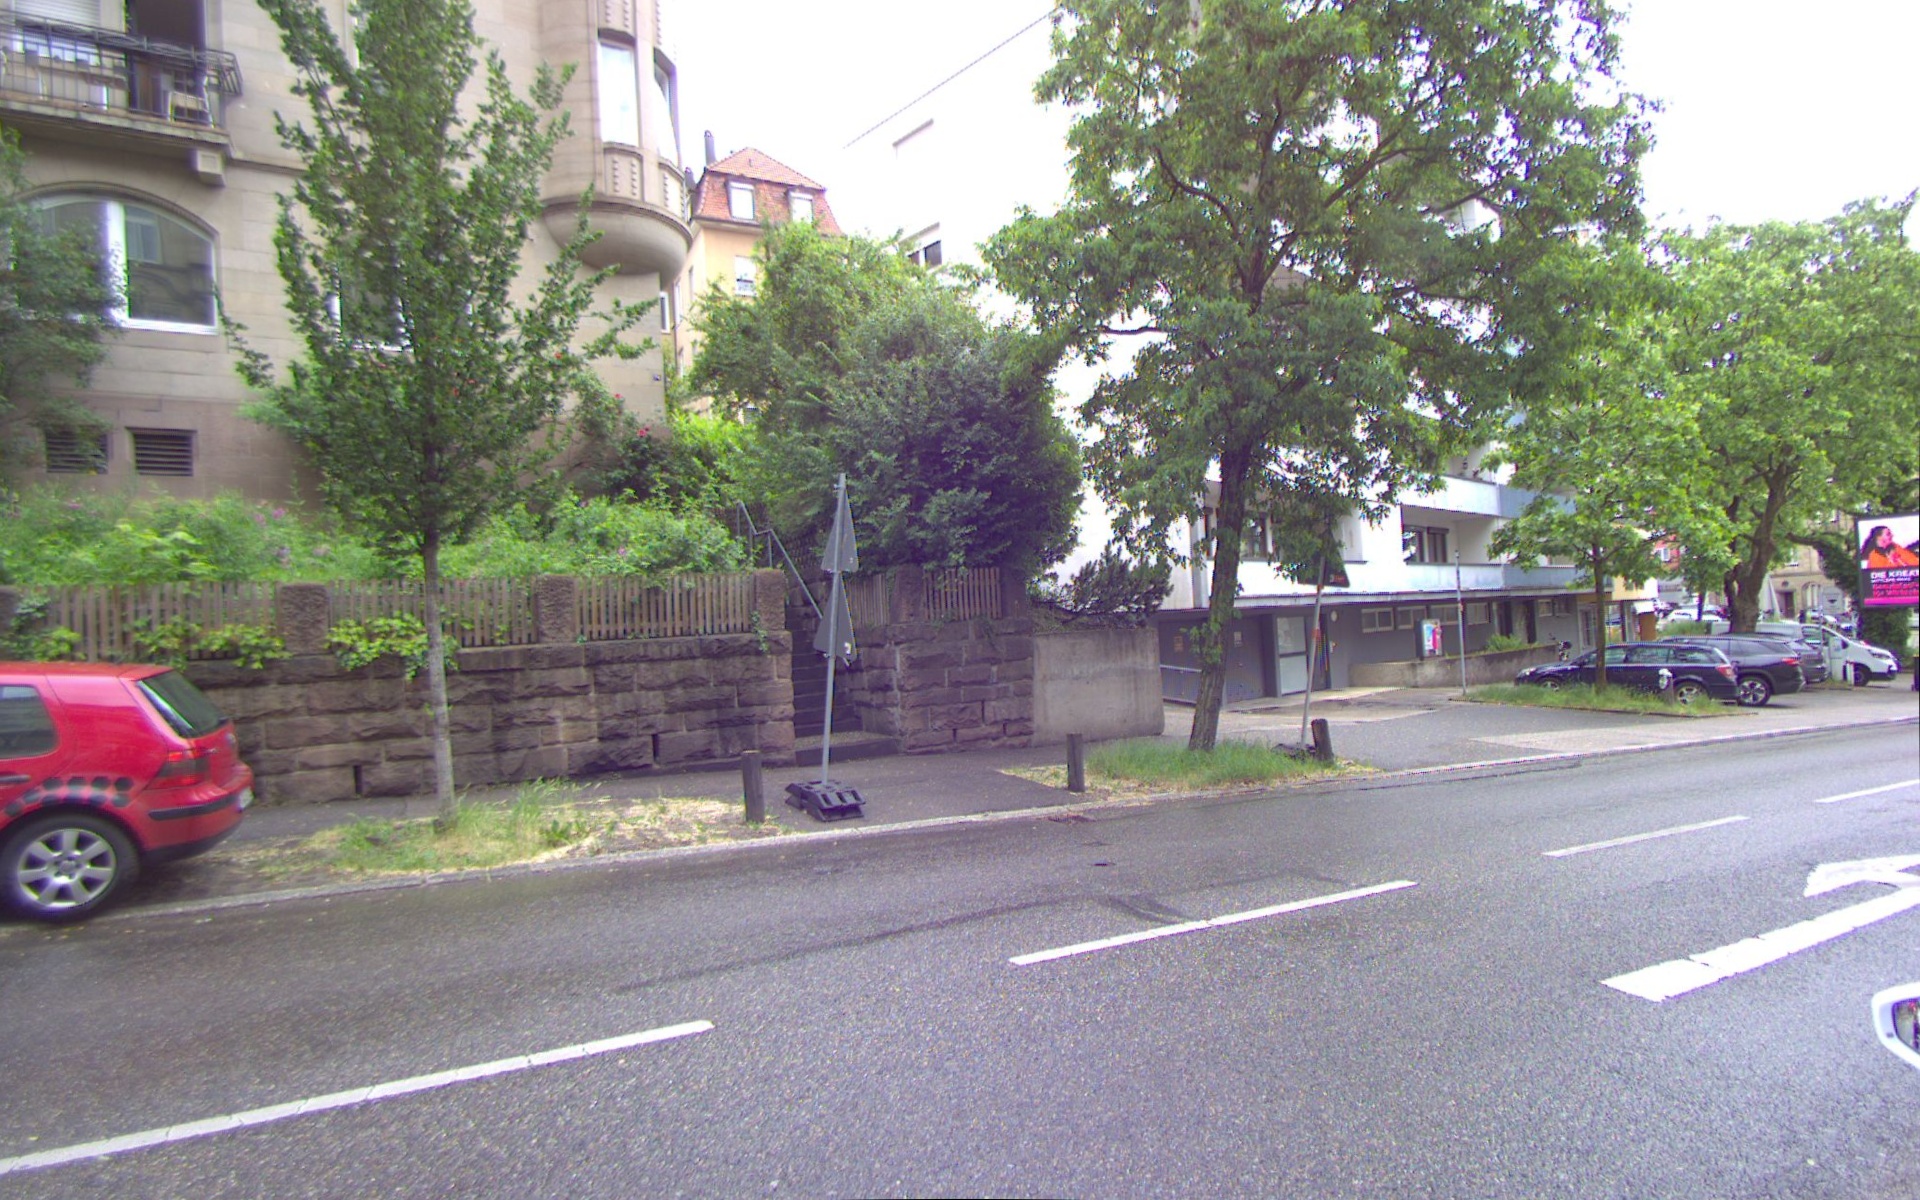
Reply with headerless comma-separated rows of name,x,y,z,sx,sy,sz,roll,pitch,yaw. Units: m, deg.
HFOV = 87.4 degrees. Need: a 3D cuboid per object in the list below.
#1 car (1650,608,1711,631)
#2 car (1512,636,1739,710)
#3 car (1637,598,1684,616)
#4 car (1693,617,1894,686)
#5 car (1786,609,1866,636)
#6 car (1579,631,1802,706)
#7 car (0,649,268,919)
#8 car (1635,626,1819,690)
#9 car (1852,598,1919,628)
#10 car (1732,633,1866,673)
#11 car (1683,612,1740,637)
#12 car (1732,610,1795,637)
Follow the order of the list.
car,60.363,1.625,84.215,1.961,1.749,4.249,-2,-1,-1
car,15.671,1.697,23.773,4.303,1.594,1.935,-3,-4,38
car,68.729,0.692,98.627,1.694,1.711,3.999,2,0,-2
car,27.651,1.680,33.539,5.000,2.132,1.983,-2,-3,40
car,60.467,1.561,70.215,1.960,1.749,4.250,-1,0,1
car,18.076,1.695,25.022,4.312,1.694,1.848,-3,-4,38
car,-6.557,1.047,5.829,4.015,1.470,1.606,1,-2,-30
car,23.284,1.717,30.611,4.305,1.807,1.931,-2,-3,40
car,69.326,0.959,74.794,1.961,2.130,4.291,-1,1,-1
car,32.819,2.052,39.418,3.925,1.469,1.761,-2,-3,40
car,68.952,2.258,92.189,1.961,2.130,4.291,-1,1,-1
car,69.264,1.978,86.626,1.961,2.130,4.291,-1,1,-1
